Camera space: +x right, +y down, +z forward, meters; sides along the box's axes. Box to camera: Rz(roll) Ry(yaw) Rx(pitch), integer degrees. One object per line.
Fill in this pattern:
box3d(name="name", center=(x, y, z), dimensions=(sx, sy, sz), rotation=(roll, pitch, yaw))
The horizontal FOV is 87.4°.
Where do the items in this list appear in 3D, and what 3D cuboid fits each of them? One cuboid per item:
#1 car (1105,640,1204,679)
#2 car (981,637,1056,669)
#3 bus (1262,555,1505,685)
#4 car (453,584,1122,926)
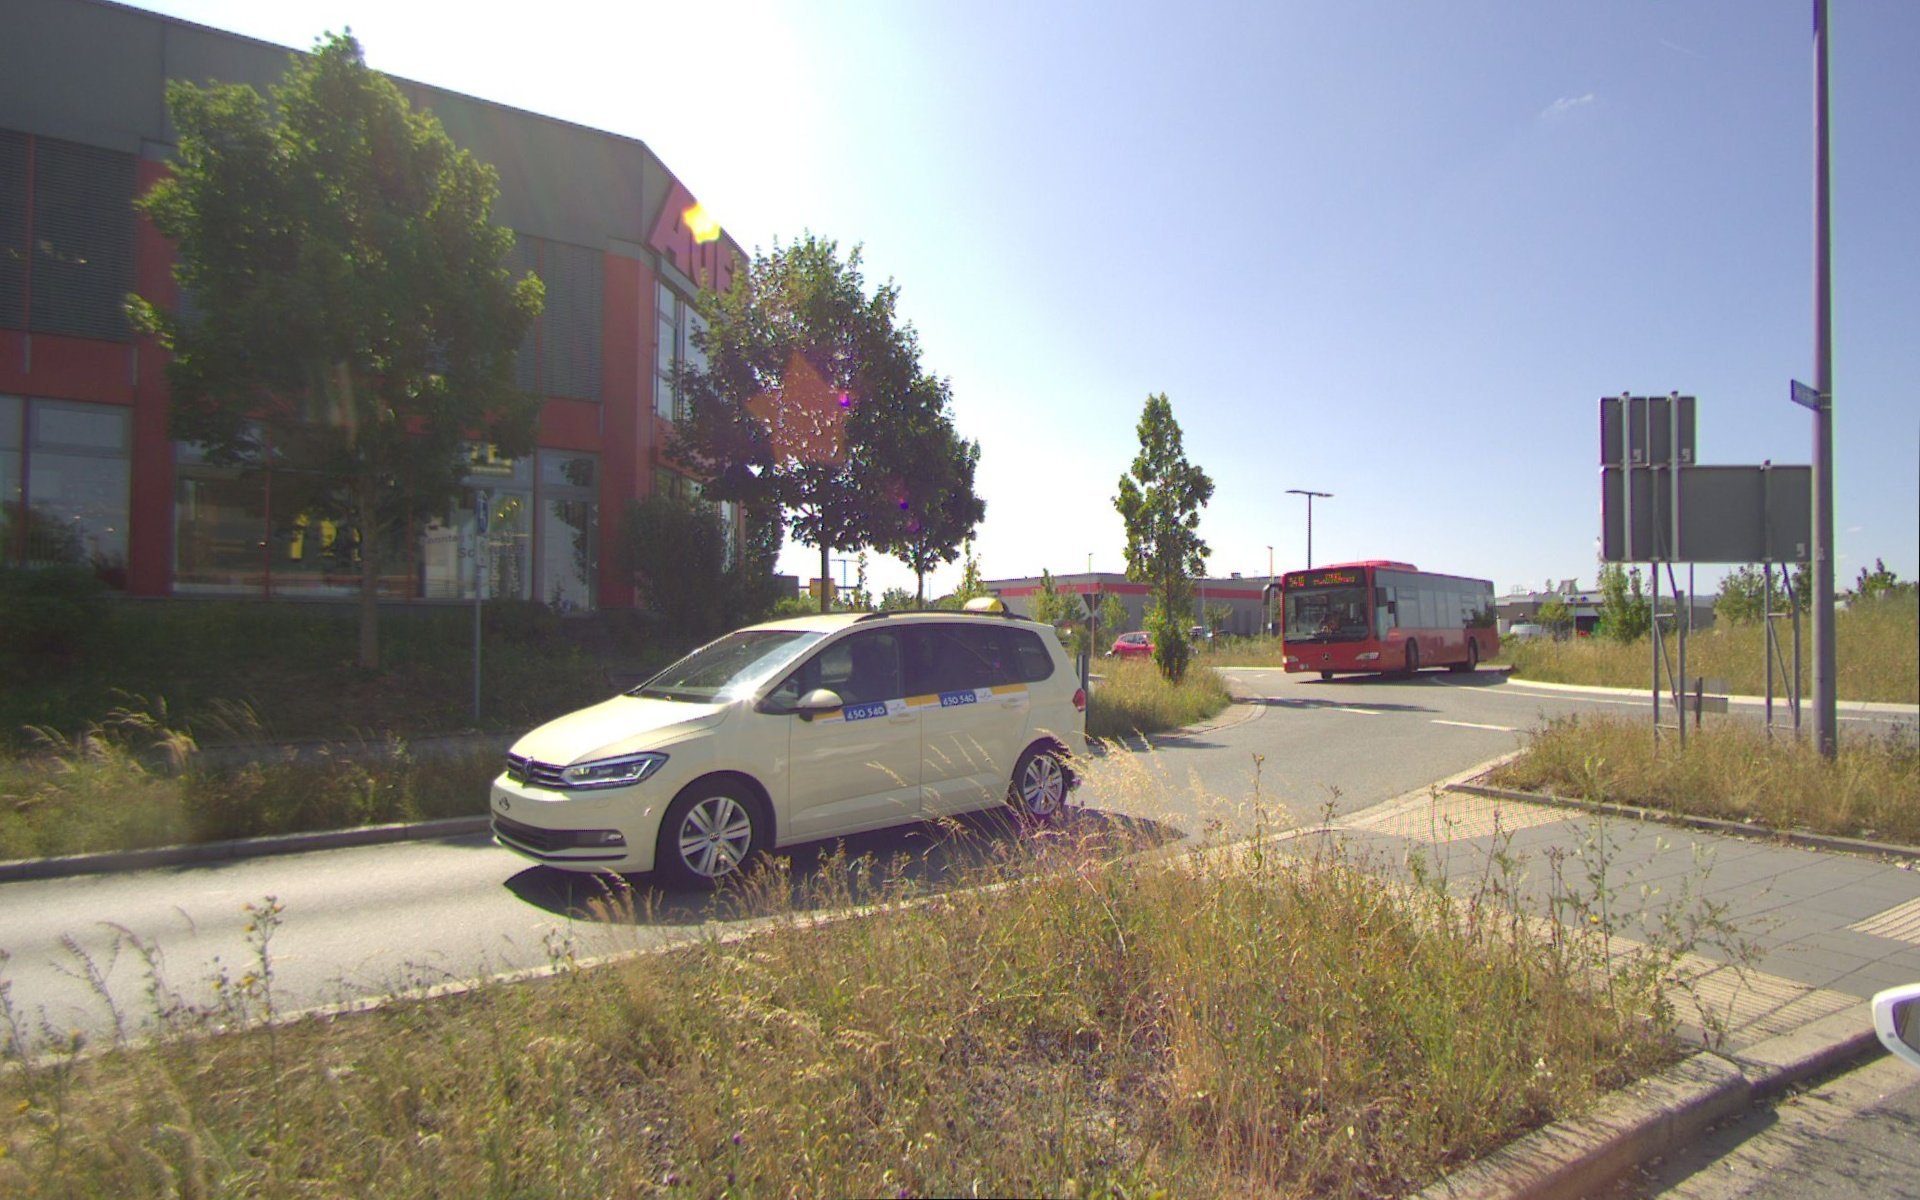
box3d(name="car", center=(7.501, 2.269, 39.045), dimensions=(1.555, 1.405, 3.968), rotation=(2, -2, -30))
box3d(name="car", center=(2.769, 2.523, 48.394), dimensions=(1.630, 1.471, 3.769), rotation=(2, -2, -35))
box3d(name="bus", center=(12.962, 0.640, 29.707), dimensions=(2.756, 3.119, 12.136), rotation=(-3, -3, 42))
box3d(name="car", center=(-0.931, 0.854, 7.249), dimensions=(1.822, 1.687, 4.561), rotation=(-4, -4, 44))
